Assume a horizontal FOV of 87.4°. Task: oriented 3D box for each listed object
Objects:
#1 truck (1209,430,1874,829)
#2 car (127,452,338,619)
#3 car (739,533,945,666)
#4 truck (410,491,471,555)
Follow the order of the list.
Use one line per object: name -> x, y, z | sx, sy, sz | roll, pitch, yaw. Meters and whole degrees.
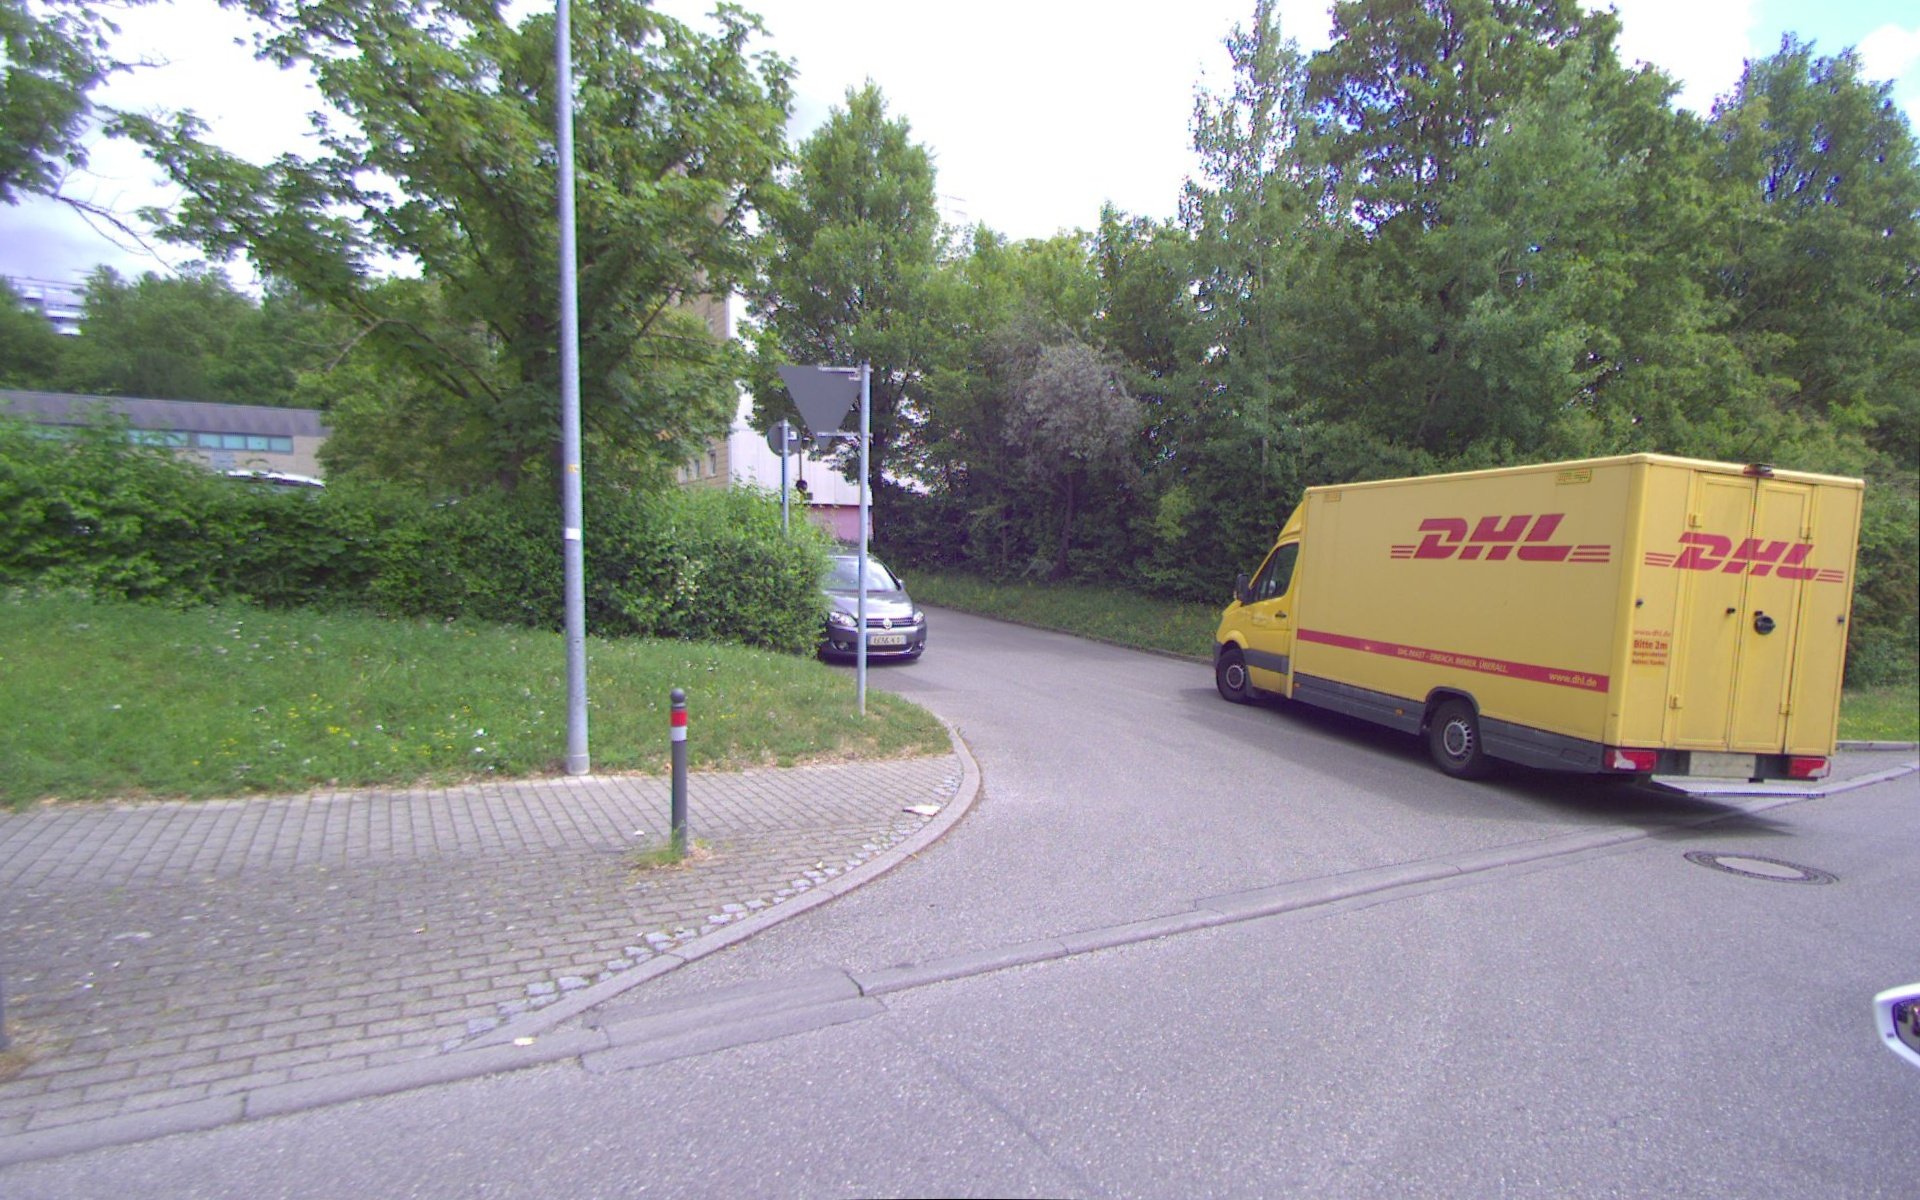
truck -> 5.109, 0.075, 10.581 | 2.193, 2.847, 6.556 | 1, 3, -11
car -> -9.780, -0.952, 13.818 | 1.978, 1.885, 3.965 | 2, 5, -31
car -> -1.998, -0.093, 15.841 | 1.737, 1.684, 4.087 | 2, 4, -29
truck -> -33.625, -4.927, 64.881 | 2.554, 3.743, 7.263 | 2, 3, -34
